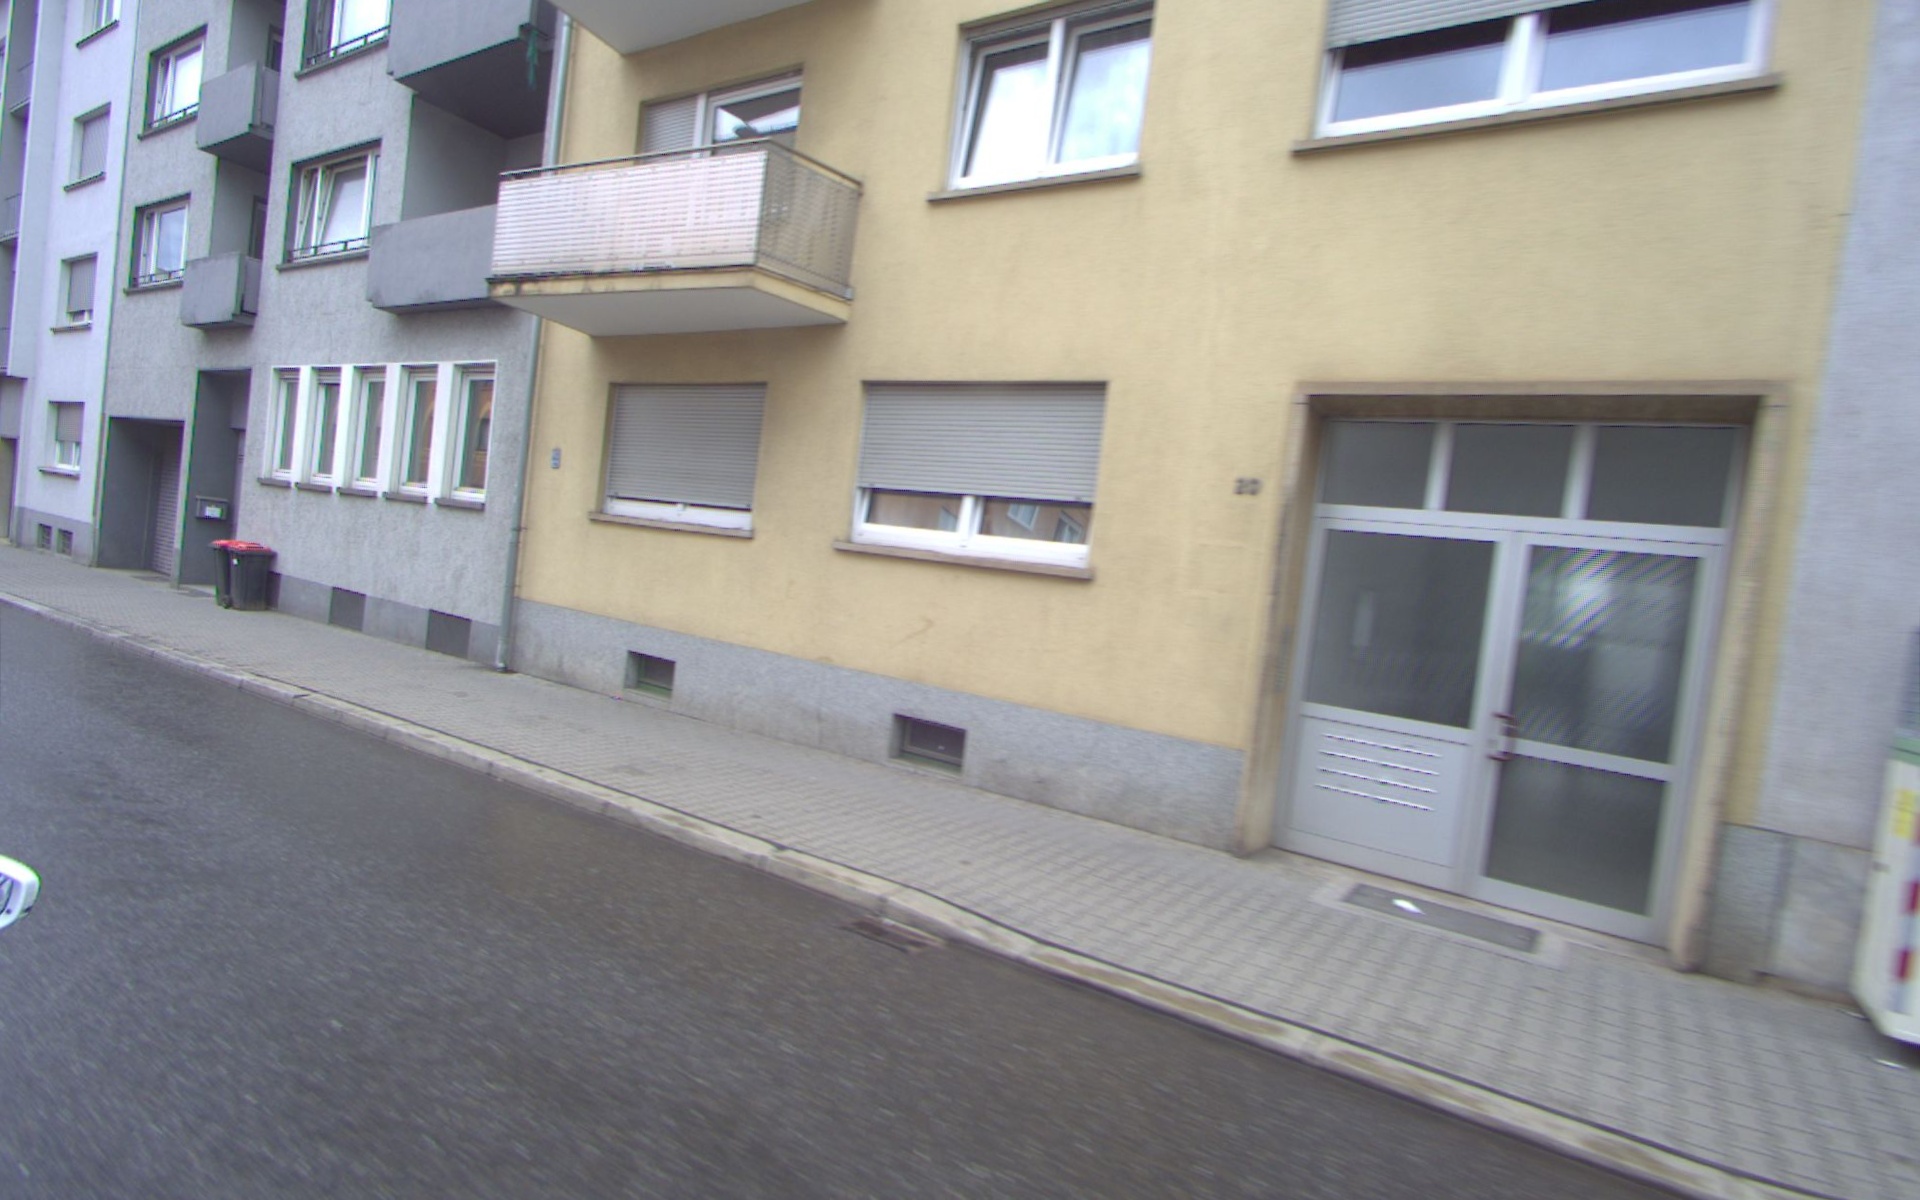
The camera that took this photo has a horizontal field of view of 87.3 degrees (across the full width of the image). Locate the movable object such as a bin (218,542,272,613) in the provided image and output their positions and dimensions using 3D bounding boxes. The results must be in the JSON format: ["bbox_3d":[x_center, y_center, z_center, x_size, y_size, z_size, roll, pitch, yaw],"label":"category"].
[{"bbox_3d":[-10.418,-0.334,14.663,0.555,0.976,0.472,8,5,36],"label":"movable object such as a bin"}]

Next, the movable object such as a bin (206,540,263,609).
[{"bbox_3d":[-10.828,-0.383,15.011,0.467,0.976,0.561,8,5,36],"label":"movable object such as a bin"}]
